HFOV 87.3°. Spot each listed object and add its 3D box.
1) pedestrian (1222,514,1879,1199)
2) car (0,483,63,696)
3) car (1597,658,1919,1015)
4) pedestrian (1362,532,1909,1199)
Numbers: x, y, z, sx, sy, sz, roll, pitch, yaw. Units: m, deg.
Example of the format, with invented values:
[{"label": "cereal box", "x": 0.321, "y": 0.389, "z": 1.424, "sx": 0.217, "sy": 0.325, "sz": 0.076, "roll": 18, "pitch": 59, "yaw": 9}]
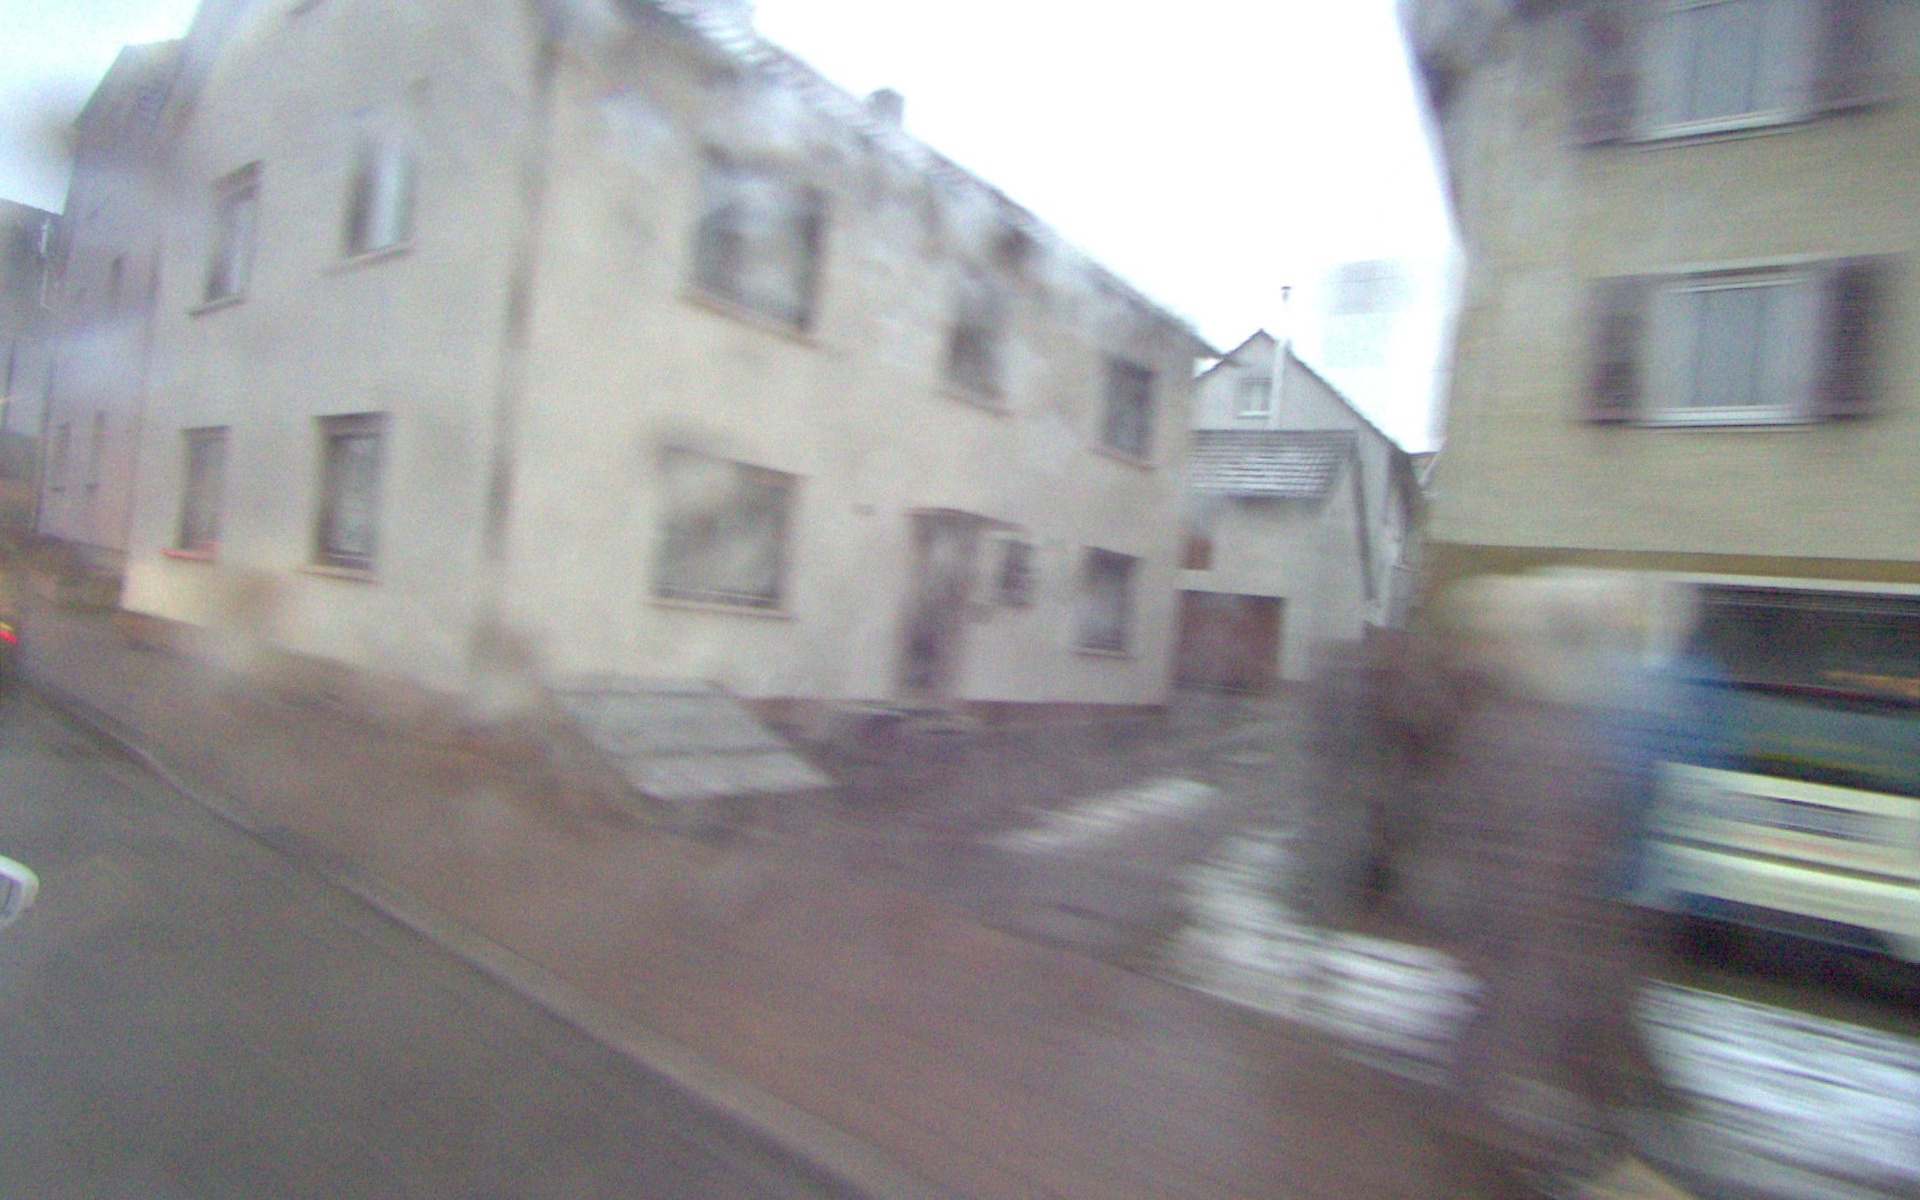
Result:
[{"label": "pedestrian", "x": 1.316, "y": 0.707, "z": 2.339, "sx": 0.977, "sy": 1.689, "sz": 0.865, "roll": 7, "pitch": 3, "yaw": 38}, {"label": "car", "x": -9.548, "y": -0.310, "z": 8.705, "sx": 4.272, "sy": 1.656, "sz": 1.848, "roll": 6, "pitch": -2, "yaw": 38}, {"label": "car", "x": 4.933, "y": 1.205, "z": 6.190, "sx": 1.561, "sy": 1.492, "sz": 3.218, "roll": 6, "pitch": 0, "yaw": 32}, {"label": "pedestrian", "x": 1.837, "y": 0.747, "z": 2.828, "sx": 0.957, "sy": 1.757, "sz": 0.847, "roll": 7, "pitch": 3, "yaw": 38}]
